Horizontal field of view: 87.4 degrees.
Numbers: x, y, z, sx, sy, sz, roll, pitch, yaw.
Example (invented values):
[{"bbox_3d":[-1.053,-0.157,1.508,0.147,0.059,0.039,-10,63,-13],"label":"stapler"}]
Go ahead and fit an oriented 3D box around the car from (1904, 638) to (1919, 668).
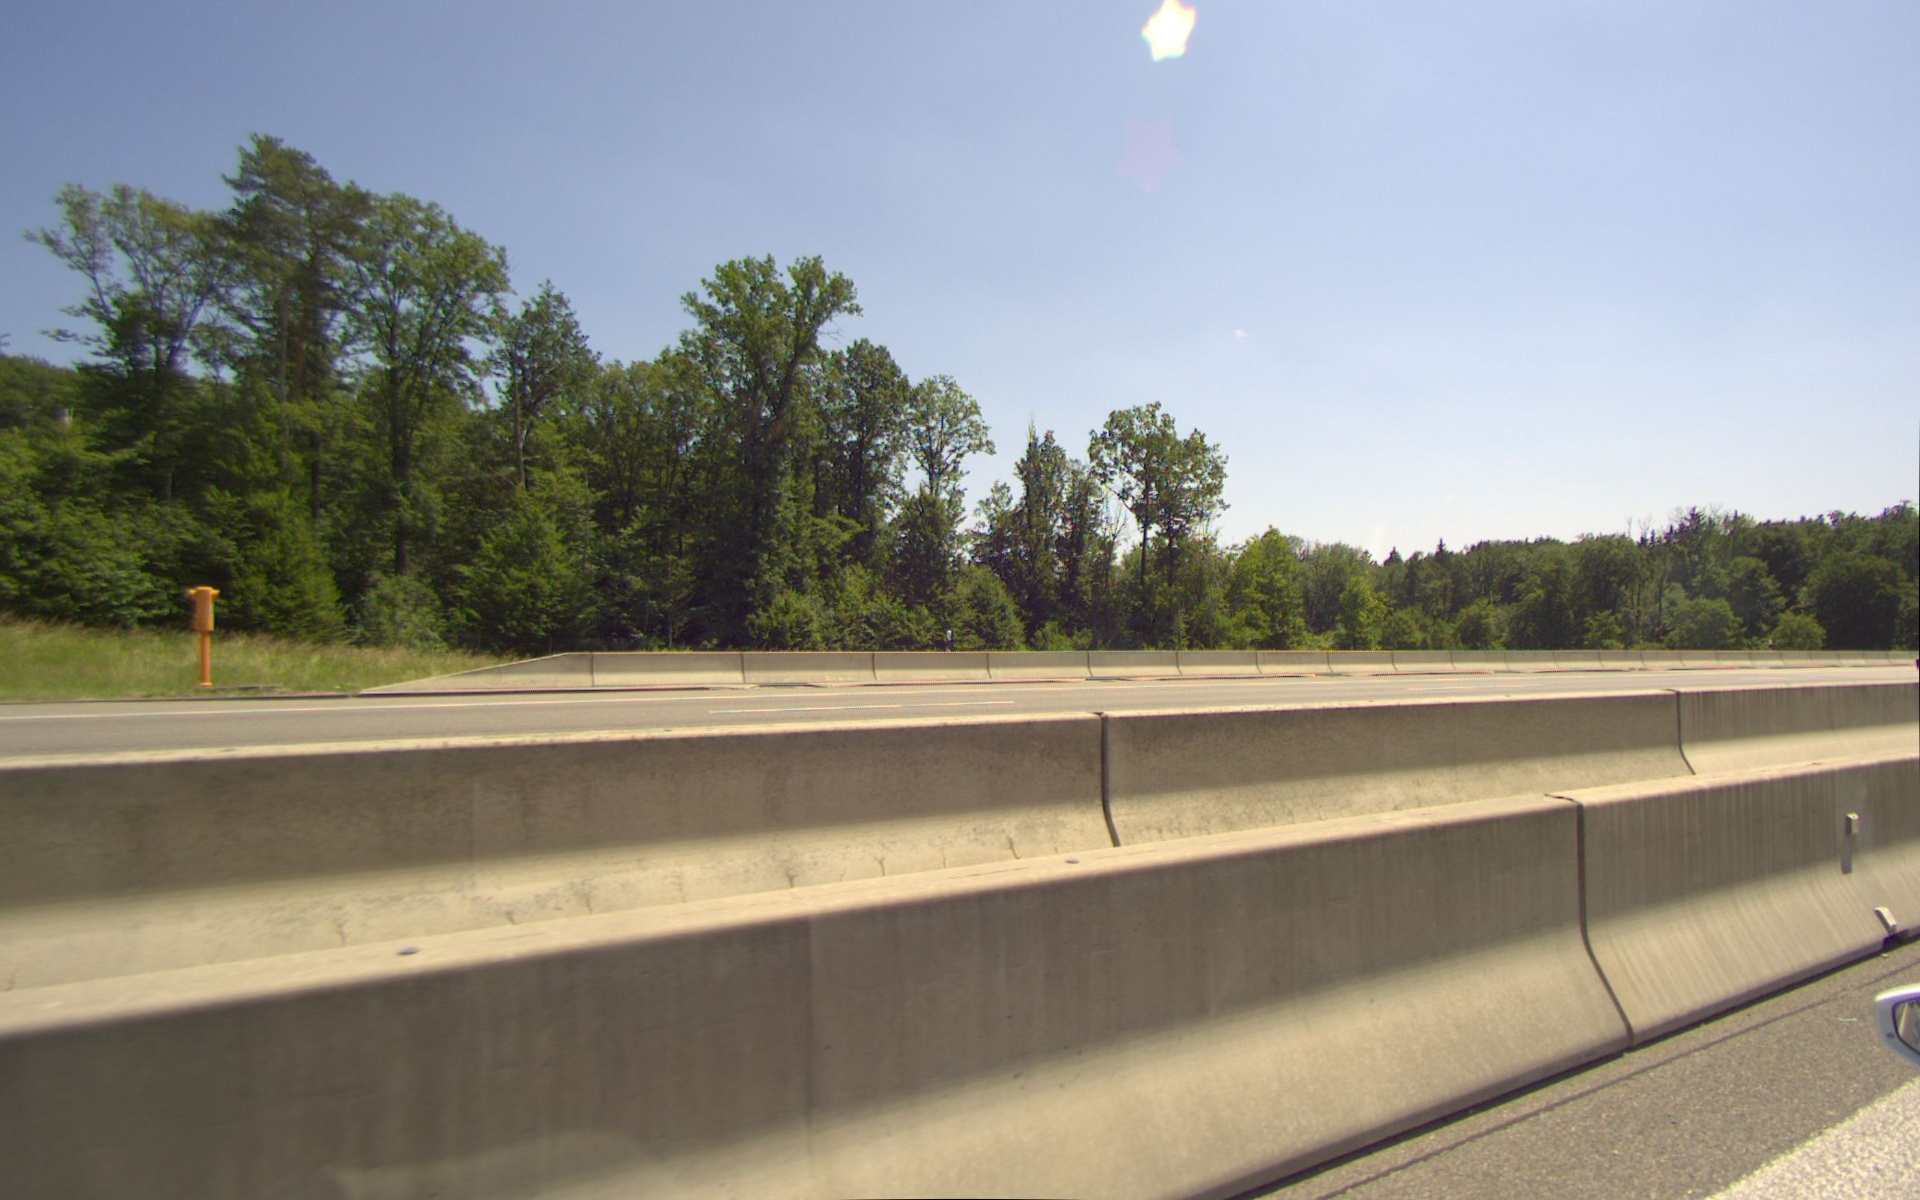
[{"bbox_3d":[49.131,2.621,50.071,4.710,1.460,1.830,1,-3,-31],"label":"car"}]
